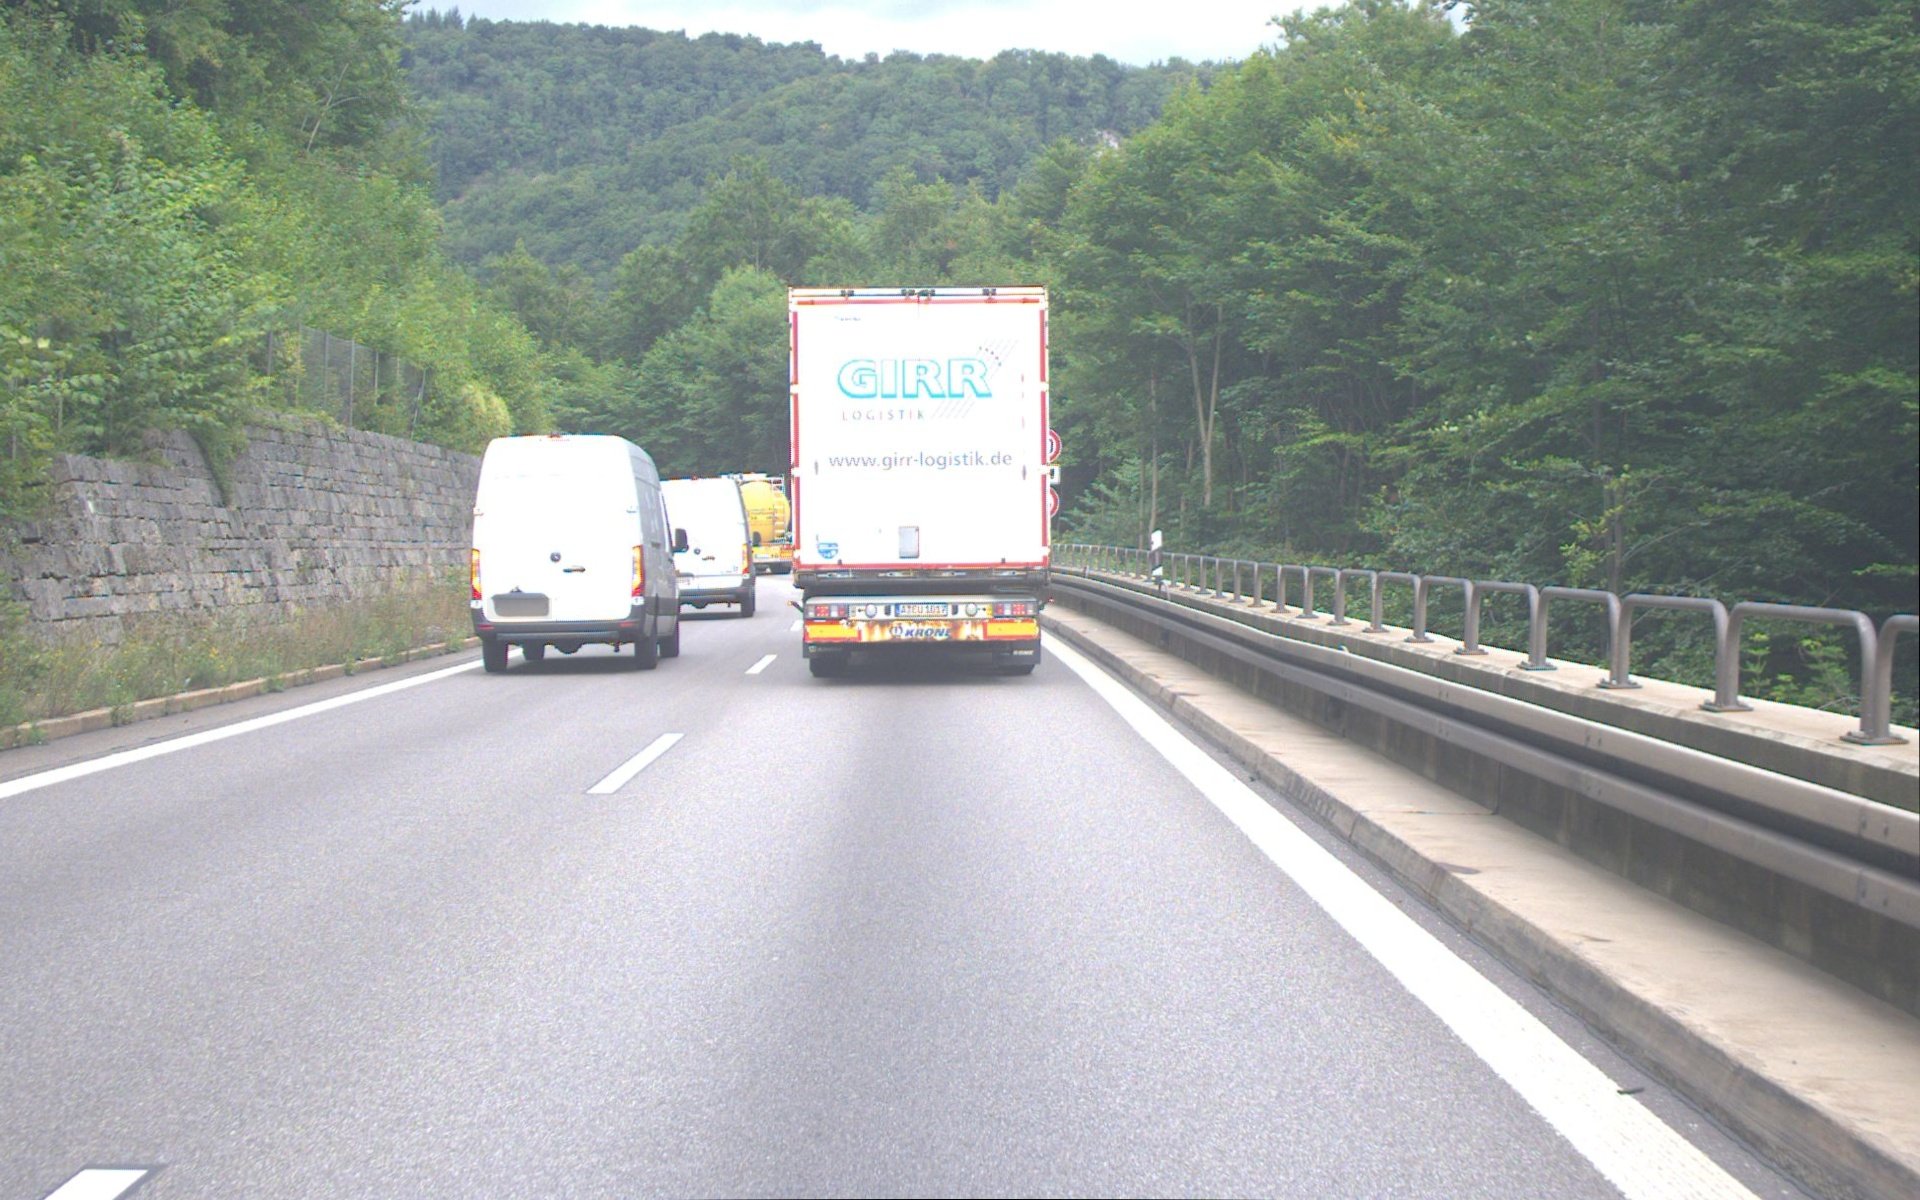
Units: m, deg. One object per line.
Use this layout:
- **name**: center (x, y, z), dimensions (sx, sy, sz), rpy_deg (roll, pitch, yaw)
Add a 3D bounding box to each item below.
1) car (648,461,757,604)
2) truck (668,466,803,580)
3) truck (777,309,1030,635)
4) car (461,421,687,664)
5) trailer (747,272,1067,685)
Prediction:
- **car**: center (-4.975, -1.331, 67.073), dimensions (1.939, 2.663, 5.992), rpy_deg (0, 1, -3)
- **truck**: center (-8.618, -2.999, 130.063), dimensions (3.057, 3.972, 13.703), rpy_deg (-3, 3, -12)
- **truck**: center (-0.760, -1.737, 46.008), dimensions (3.057, 3.972, 7.188), rpy_deg (1, 2, -1)
- **car**: center (-4.520, -0.714, 41.251), dimensions (1.989, 2.663, 6.937), rpy_deg (0, 1, -1)
- **trailer**: center (-0.622, -1.445, 39.562), dimensions (3.057, 3.972, 12.138), rpy_deg (1, 2, -1)
